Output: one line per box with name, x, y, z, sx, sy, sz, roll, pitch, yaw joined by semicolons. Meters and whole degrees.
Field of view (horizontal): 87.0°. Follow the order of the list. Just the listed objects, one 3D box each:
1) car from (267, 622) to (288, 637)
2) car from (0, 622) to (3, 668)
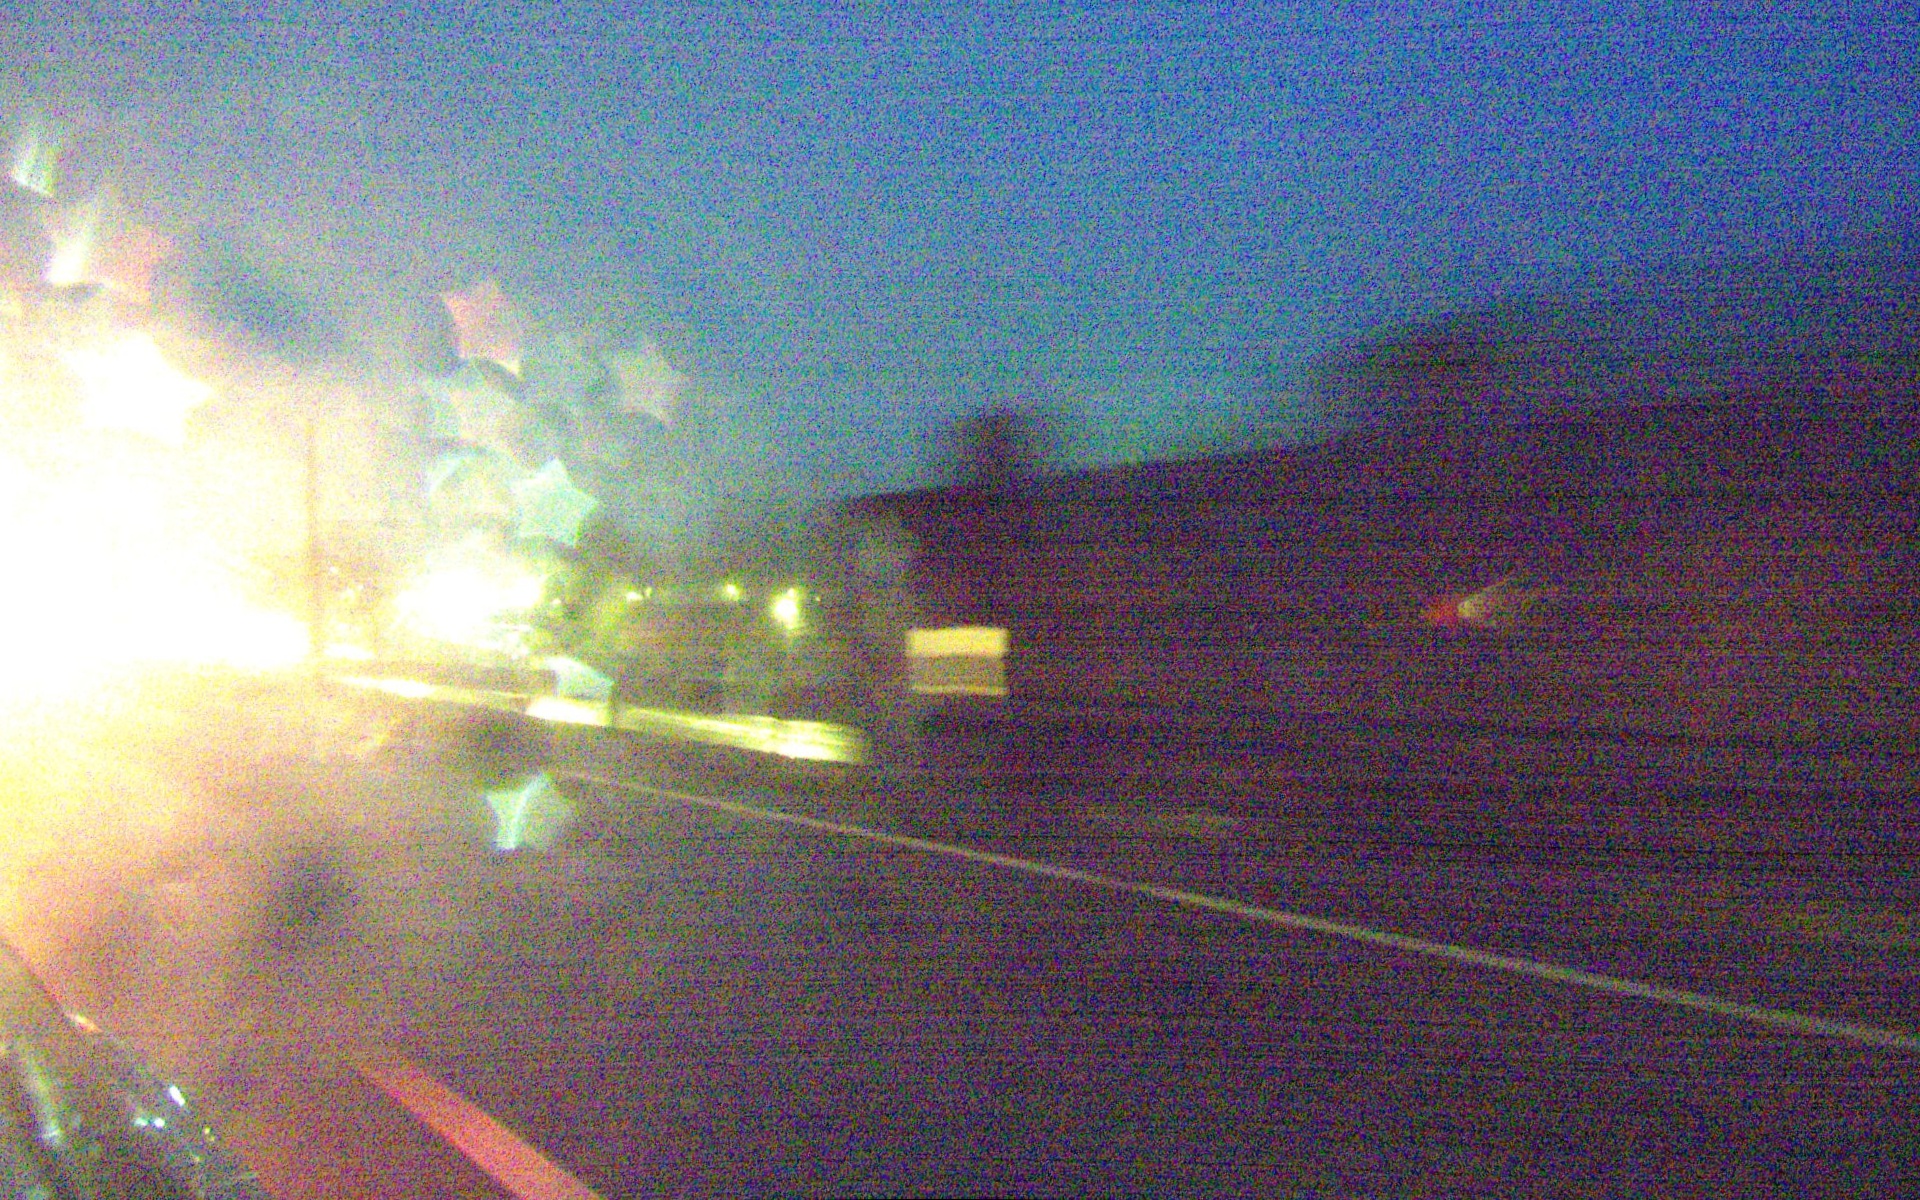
car;-109.840;4.735;162.820;1.969;2.325;6.029;0;-1;-42
car;-37.842;1.737;38.394;3.999;1.716;1.906;-2;-1;42
